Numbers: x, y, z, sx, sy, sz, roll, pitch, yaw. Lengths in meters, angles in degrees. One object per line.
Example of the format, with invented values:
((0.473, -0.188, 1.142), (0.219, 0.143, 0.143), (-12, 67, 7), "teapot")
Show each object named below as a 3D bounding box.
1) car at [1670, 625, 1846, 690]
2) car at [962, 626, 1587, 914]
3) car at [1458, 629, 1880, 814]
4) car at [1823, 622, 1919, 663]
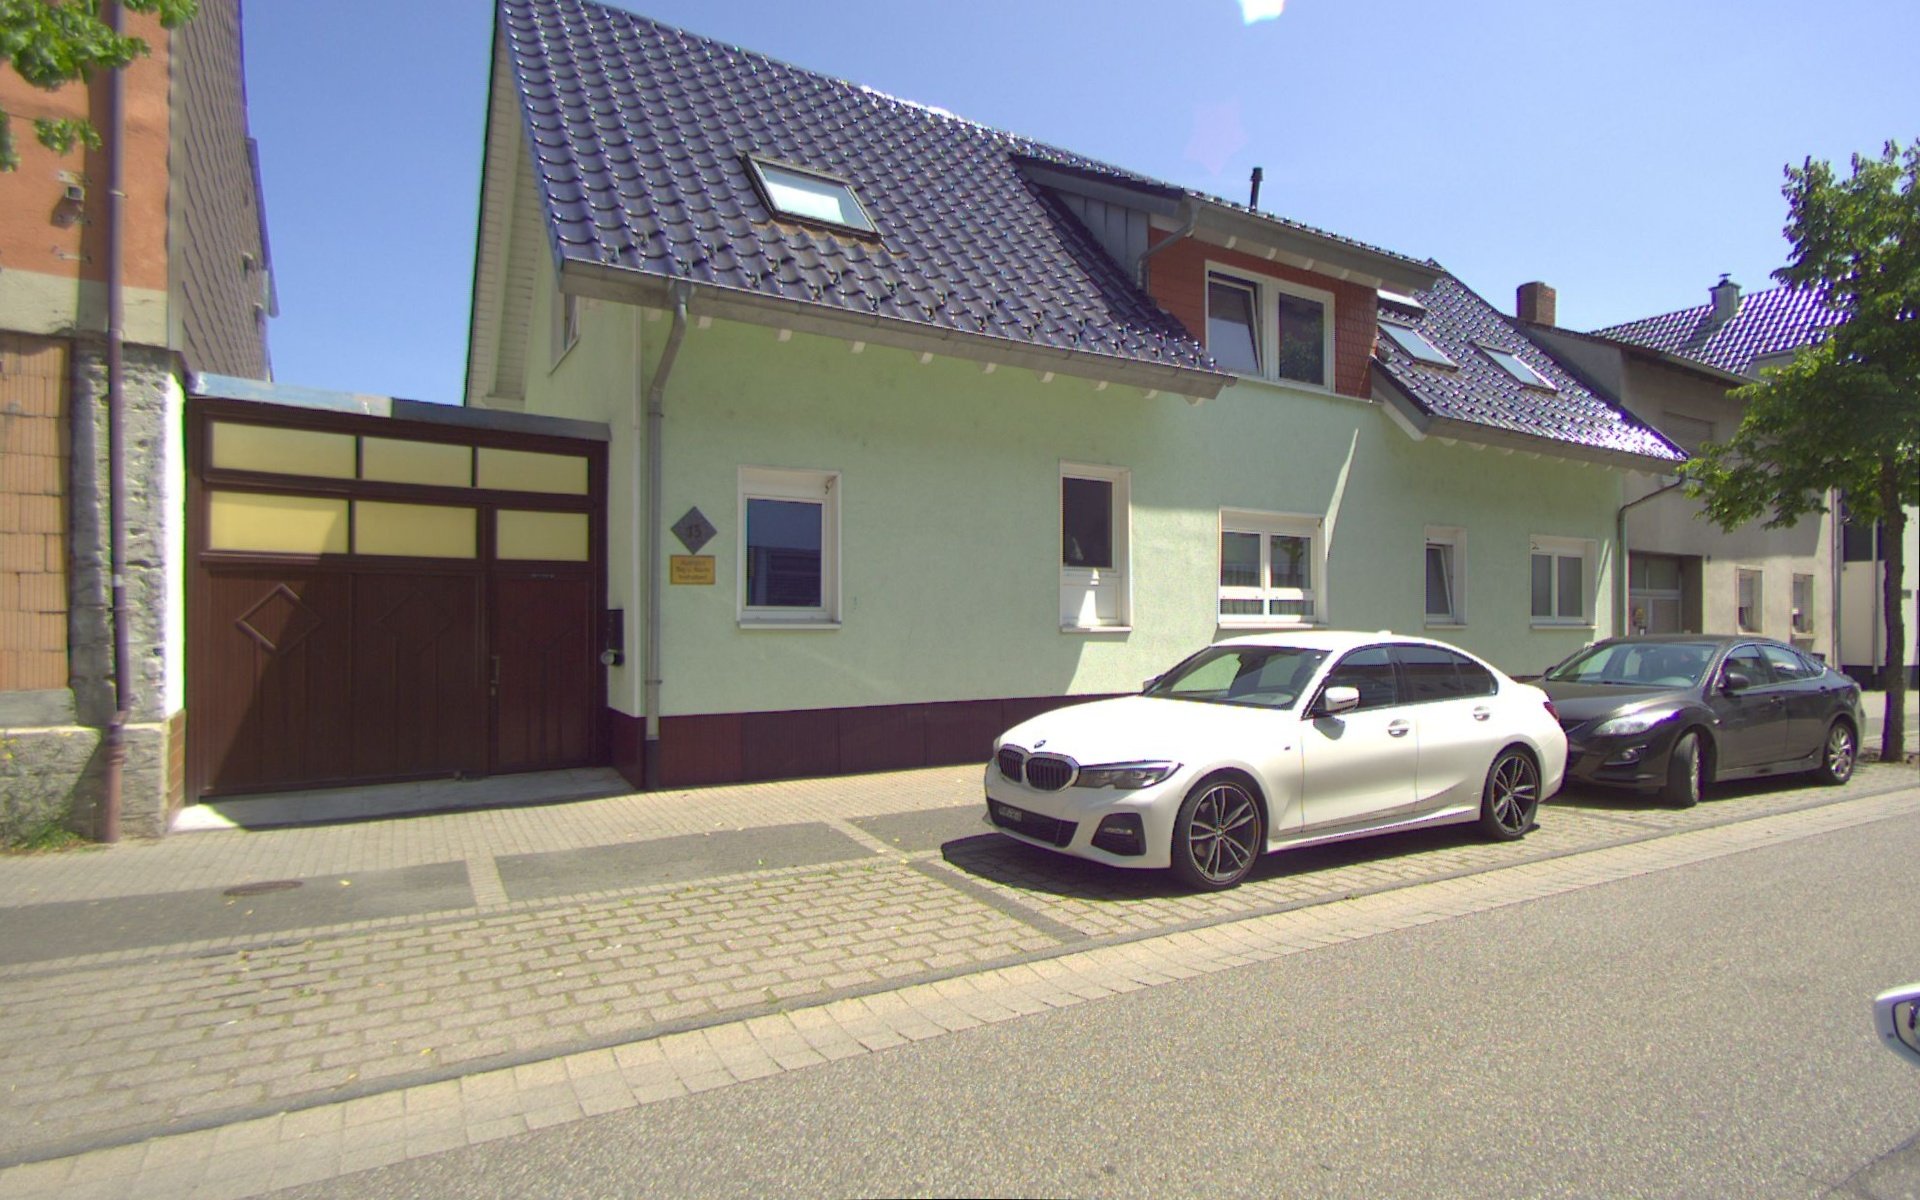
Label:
((19.603, 1.362, 24.761), (1.571, 1.462, 3.094), (1, -1, -35), "car")
((2.335, 0.932, 7.071), (4.408, 1.456, 1.711), (1, -1, -31), "car")
((7.017, 1.021, 9.830), (4.484, 1.456, 1.653), (1, -1, -30), "car")
((37.209, 1.689, 40.268), (3.874, 1.566, 1.509), (-1, 0, 44), "car")
